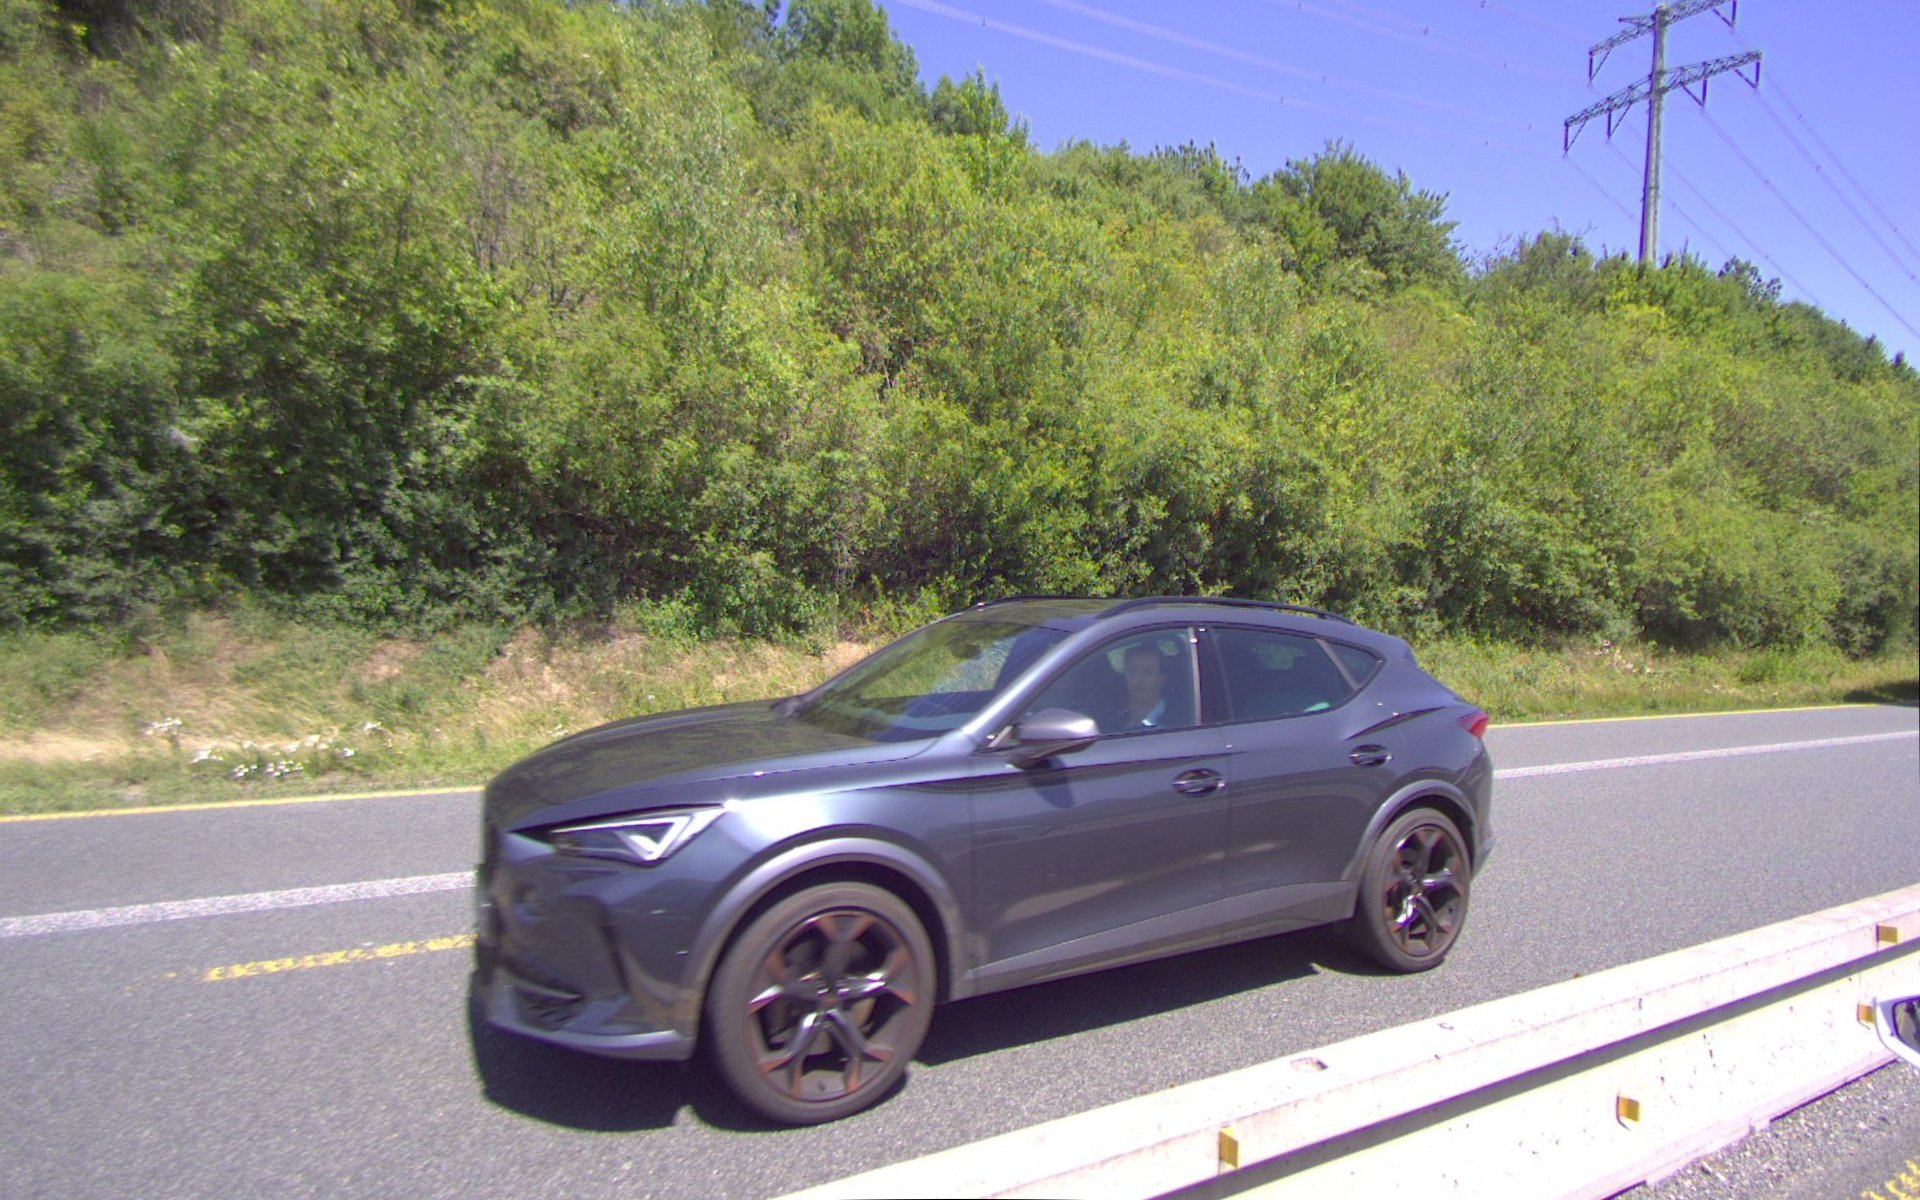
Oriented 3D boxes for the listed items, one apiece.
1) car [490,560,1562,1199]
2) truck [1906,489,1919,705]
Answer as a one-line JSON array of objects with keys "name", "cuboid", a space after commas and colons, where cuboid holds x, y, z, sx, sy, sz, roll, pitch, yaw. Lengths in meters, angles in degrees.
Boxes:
[{"name": "car", "cuboid": [0.411, 0.715, 4.287, 4.226, 1.525, 1.890, 2, 0, -30]}, {"name": "truck", "cuboid": [21.696, 0.002, 19.770, 5.949, 4.173, 2.881, 2, -1, -30]}]
